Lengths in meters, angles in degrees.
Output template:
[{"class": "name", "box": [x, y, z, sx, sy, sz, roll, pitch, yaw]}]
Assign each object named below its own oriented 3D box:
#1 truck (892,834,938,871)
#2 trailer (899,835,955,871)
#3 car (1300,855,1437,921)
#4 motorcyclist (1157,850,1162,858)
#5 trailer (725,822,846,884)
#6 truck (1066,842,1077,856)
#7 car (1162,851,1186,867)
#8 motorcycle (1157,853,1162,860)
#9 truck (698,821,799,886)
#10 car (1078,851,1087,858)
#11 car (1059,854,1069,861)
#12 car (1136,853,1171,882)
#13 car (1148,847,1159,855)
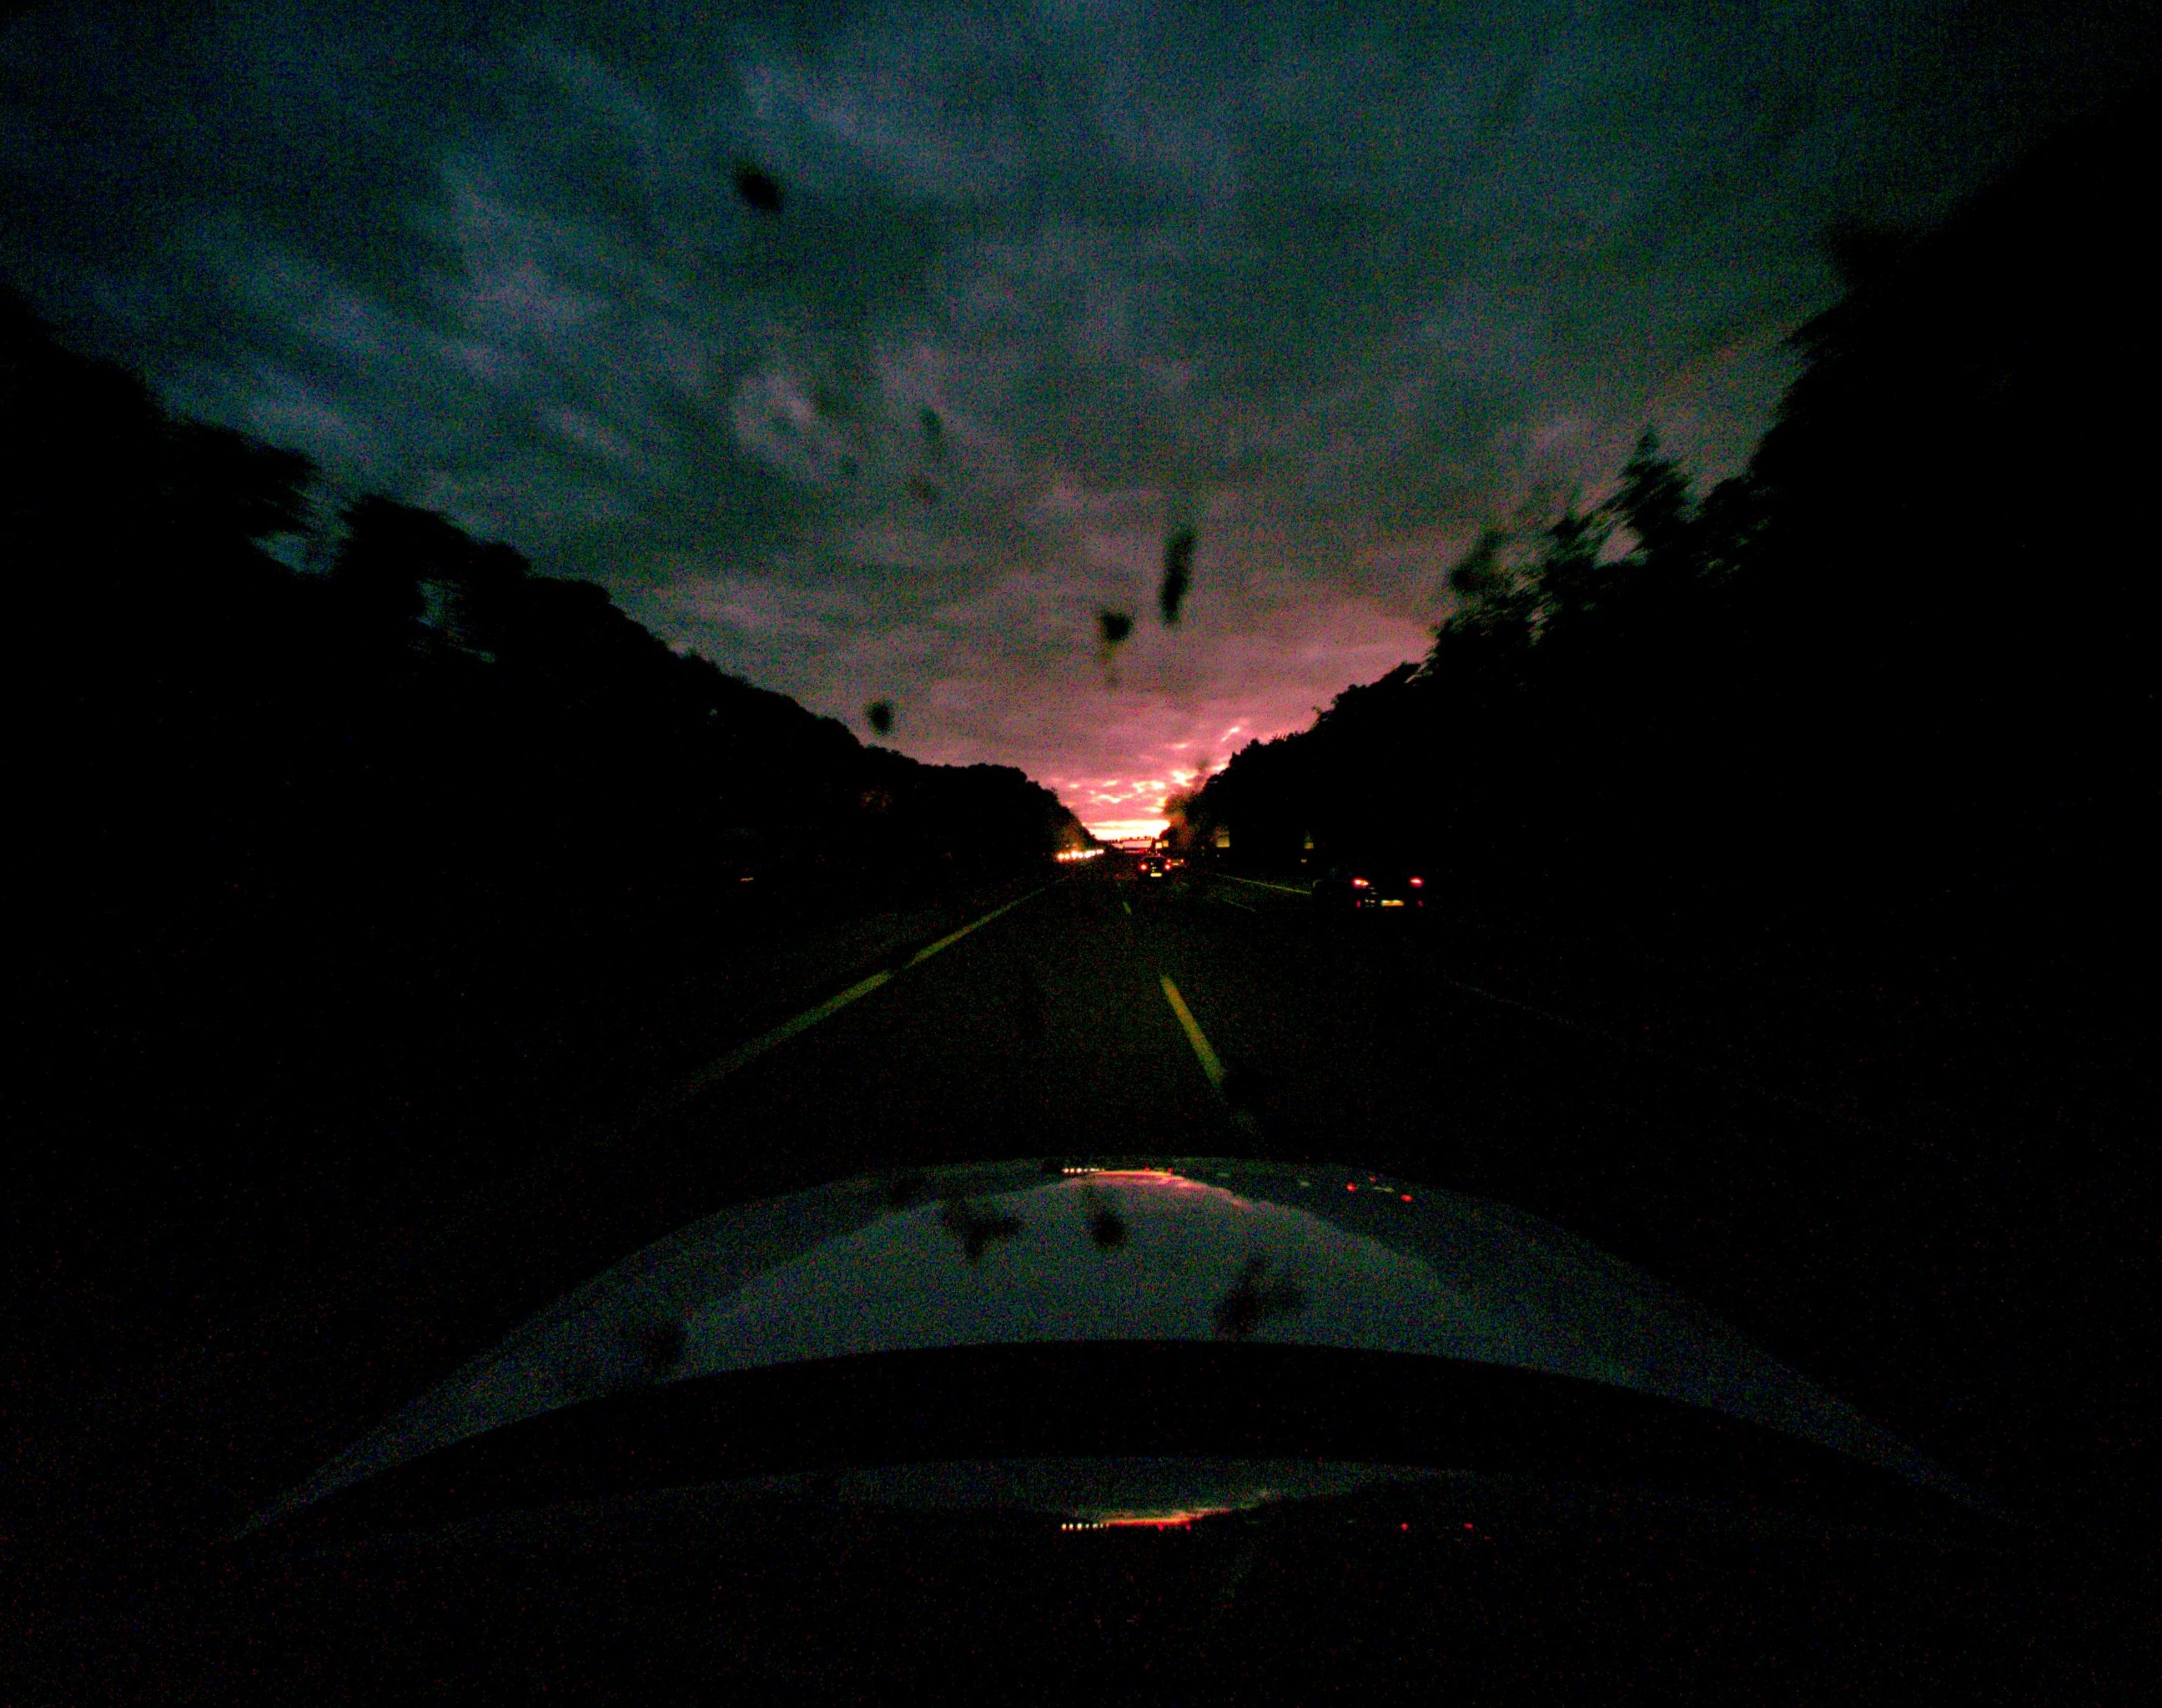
[{"class": "truck", "box": [-19.498, -0.154, 96.199, 3.176, 4.105, 7.699, -1, 0, 5]}, {"class": "trailer", "box": [-19.039, -0.067, 101.789, 3.176, 4.105, 14.201, -1, 0, 5]}, {"class": "car", "box": [6.926, 0.761, 20.144, 1.858, 1.436, 4.584, 0, 0, 1]}, {"class": "motorcyclist", "box": [13.290, -0.029, 138.328, 0.826, 1.291, 1.191, -2, -1, 3]}, {"class": "trailer", "box": [-21.896, -0.029, 61.712, 3.176, 4.105, 13.756, -1, 0, 4]}, {"class": "truck", "box": [-2.720, -1.571, 242.705, 2.635, 3.971, 7.129, -2, 0, 3]}, {"class": "car", "box": [8.968, 0.468, 78.678, 1.820, 1.476, 4.397, 0, -1, -1]}, {"class": "motorcycle", "box": [13.307, 0.381, 138.391, 0.826, 1.134, 2.478, -2, -1, 4]}, {"class": "truck", "box": [-22.393, -0.014, 55.469, 3.176, 4.105, 7.699, -1, 0, 5]}, {"class": "car", "box": [0.265, 0.126, 183.210, 1.843, 1.381, 4.646, -1, 0, 2]}, {"class": "car", "box": [-3.631, 0.747, 170.595, 1.679, 1.515, 4.419, -1, 0, 4]}, {"class": "car", "box": [3.875, 0.746, 44.179, 1.697, 1.509, 4.234, 0, -1, 2]}, {"class": "car", "box": [14.880, -0.628, 166.650, 1.859, 1.494, 4.397, 0, -1, -1]}]
